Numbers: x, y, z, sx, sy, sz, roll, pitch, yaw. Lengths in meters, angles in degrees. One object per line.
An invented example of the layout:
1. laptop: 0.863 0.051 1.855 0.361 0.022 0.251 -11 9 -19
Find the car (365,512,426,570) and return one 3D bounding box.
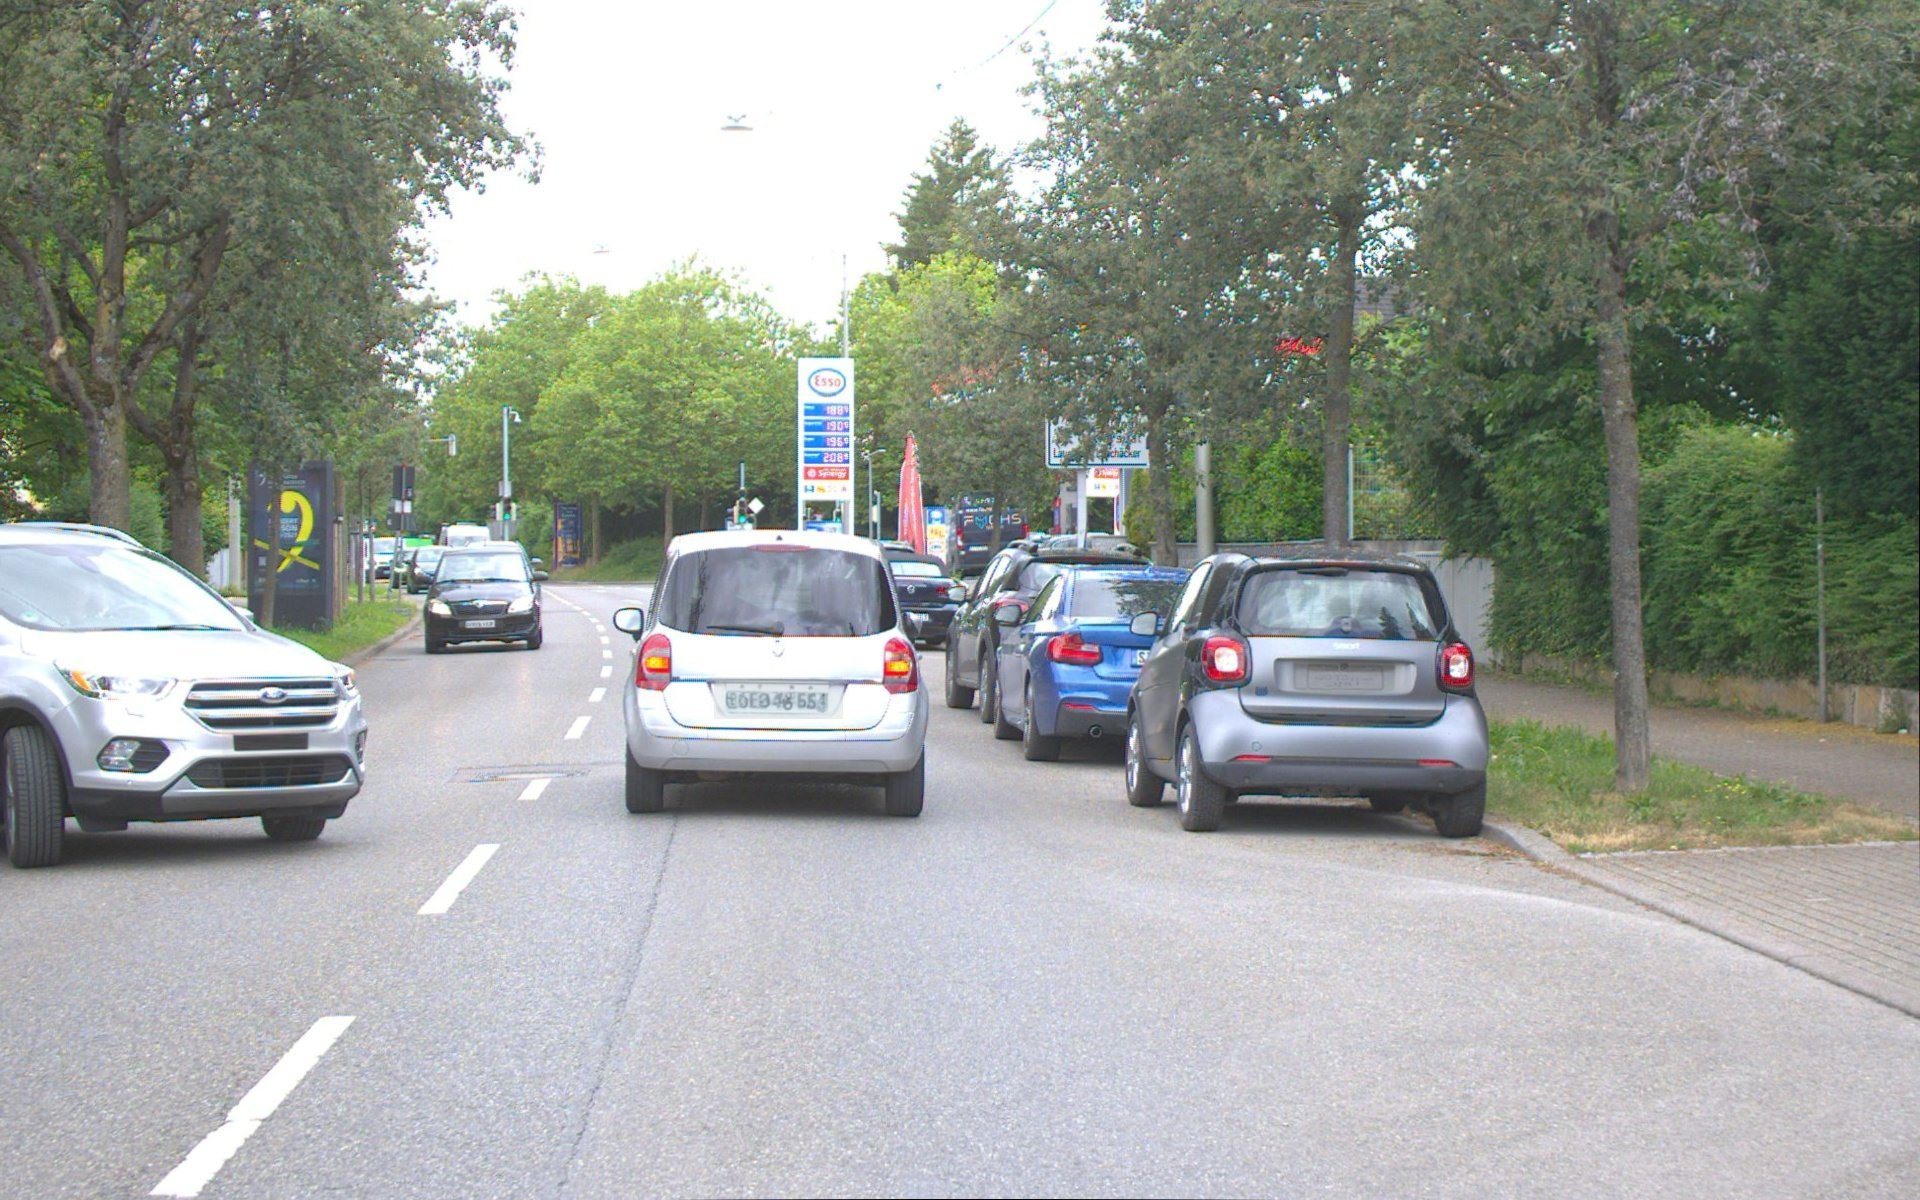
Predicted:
1. car: -20.004 -2.090 121.954 1.934 2.007 4.001 0 1 -7

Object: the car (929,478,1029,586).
1. car: 0.498 -1.910 96.675 2.281 2.901 5.280 2 1 -5

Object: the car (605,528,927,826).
1. car: -1.121 0.371 19.961 1.679 1.554 3.512 1 1 -3

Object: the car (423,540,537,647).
1. car: -6.949 -0.124 49.987 1.544 1.465 3.743 -1 1 -7

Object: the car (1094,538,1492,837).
1. car: 1.847 0.432 20.207 1.695 1.552 3.956 1 1 -3

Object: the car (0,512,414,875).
1. car: -4.910 0.401 18.038 4.096 1.700 1.743 1 1 39

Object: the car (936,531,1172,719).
1. car: 0.780 0.176 30.932 1.695 1.565 3.956 -1 1 -5

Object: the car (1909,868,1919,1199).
1. car: 2.705 0.777 4.560 1.626 1.447 3.876 2 1 -3

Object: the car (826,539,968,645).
1. car: -0.979 -0.152 51.303 1.695 1.501 3.974 0 1 -7

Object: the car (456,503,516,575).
1. car: -16.120 -2.078 116.938 1.934 2.400 4.001 0 1 -7

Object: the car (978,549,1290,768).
1. car: 1.201 0.370 25.586 1.696 1.428 4.341 2 1 -5
